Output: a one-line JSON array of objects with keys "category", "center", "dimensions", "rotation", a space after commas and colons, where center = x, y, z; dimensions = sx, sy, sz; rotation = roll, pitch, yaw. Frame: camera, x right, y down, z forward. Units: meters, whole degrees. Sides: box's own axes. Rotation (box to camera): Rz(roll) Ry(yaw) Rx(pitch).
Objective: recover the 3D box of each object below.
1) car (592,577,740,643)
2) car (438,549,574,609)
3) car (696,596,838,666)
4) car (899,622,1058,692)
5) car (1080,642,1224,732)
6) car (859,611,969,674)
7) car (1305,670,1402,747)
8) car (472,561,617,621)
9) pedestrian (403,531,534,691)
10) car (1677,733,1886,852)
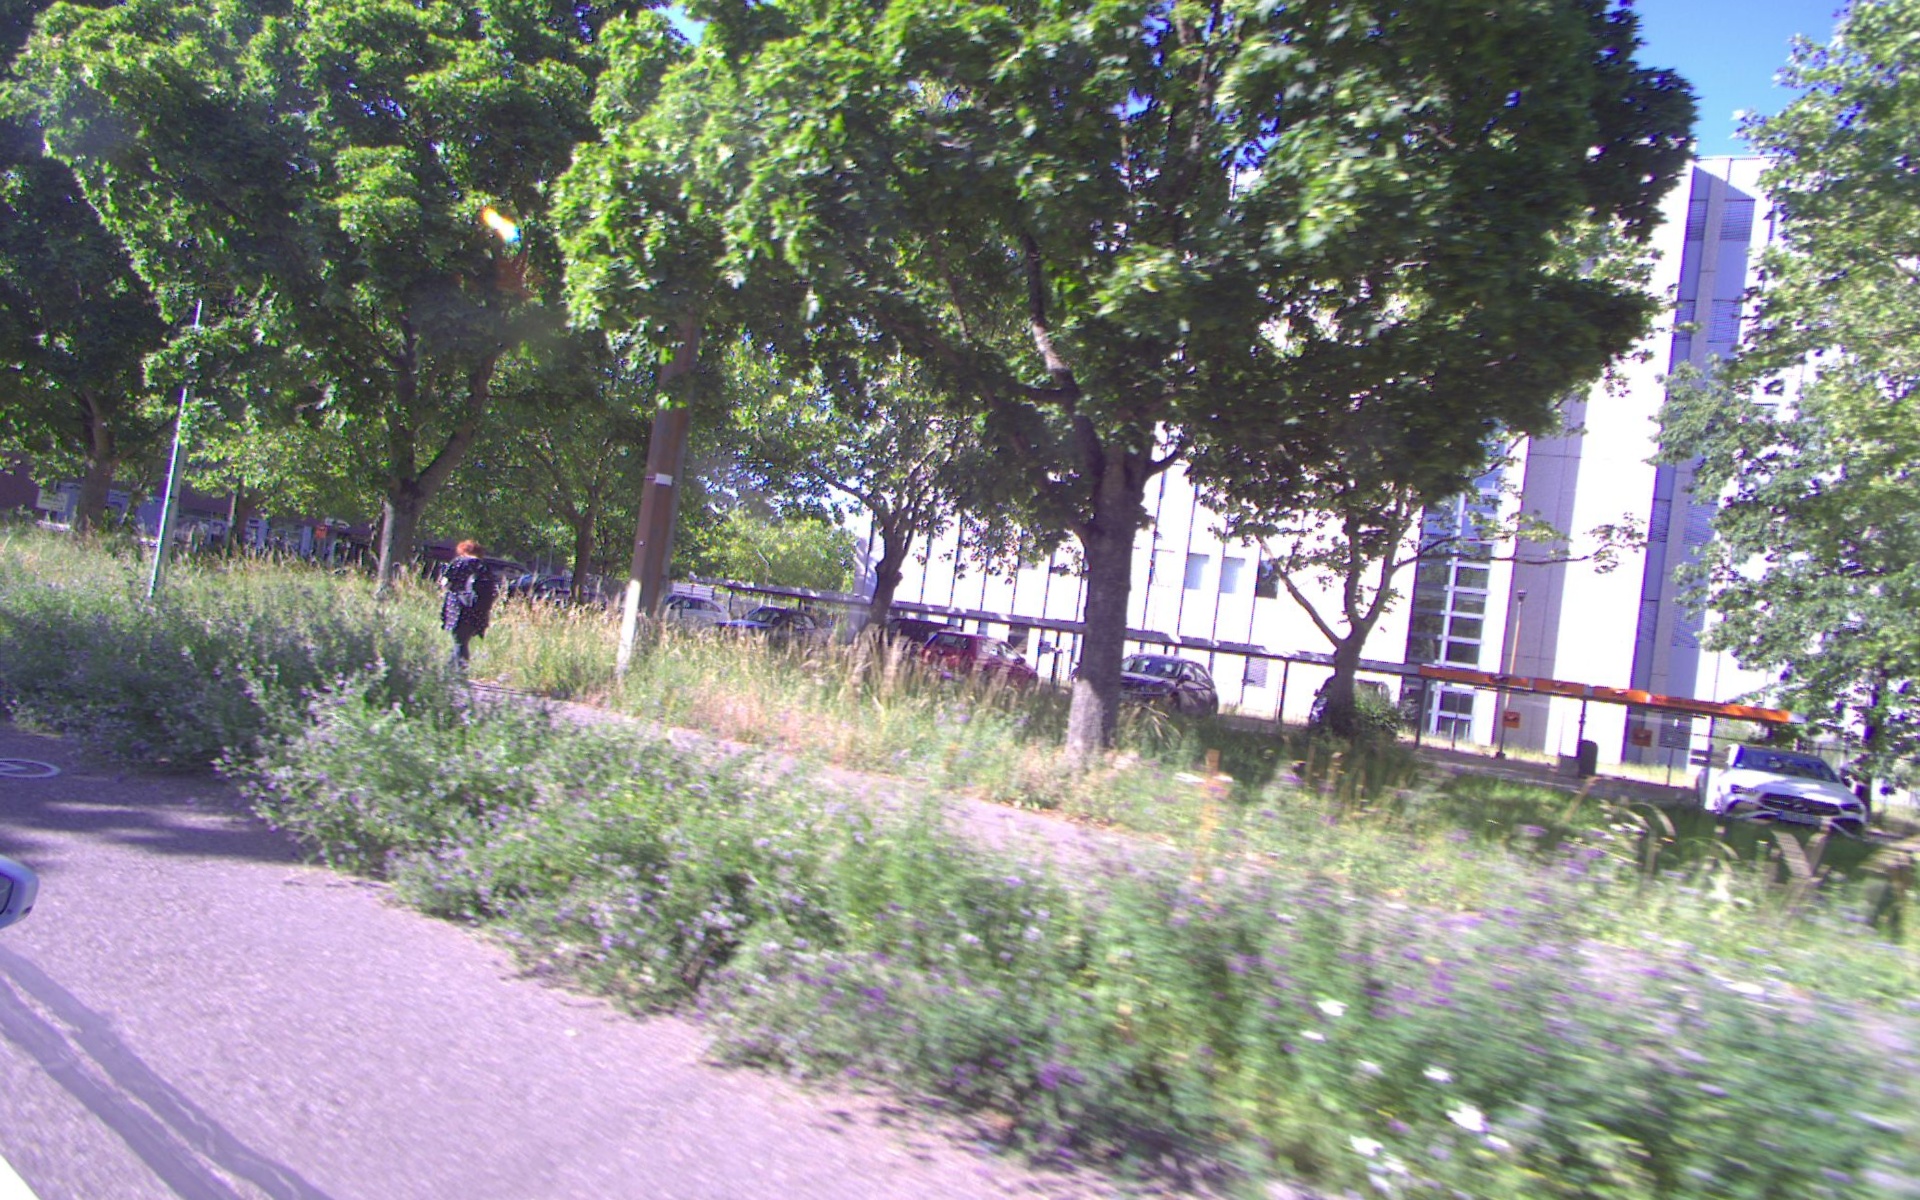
[{"category": "car", "center": [-9.161, 0.357, 31.647], "dimensions": [1.795, 1.448, 4.172], "rotation": [6, -3, 34]}, {"category": "car", "center": [-16.107, -0.723, 35.863], "dimensions": [1.709, 1.522, 4.038], "rotation": [7, -2, 32]}, {"category": "car", "center": [-5.352, 0.923, 28.441], "dimensions": [1.677, 1.542, 4.005], "rotation": [7, -2, 28]}, {"category": "car", "center": [0.568, 1.514, 26.012], "dimensions": [1.910, 1.340, 4.296], "rotation": [8, -1, 36]}, {"category": "car", "center": [4.466, 2.000, 22.833], "dimensions": [1.851, 1.615, 4.404], "rotation": [7, -2, 28]}, {"category": "car", "center": [-1.785, 1.763, 40.632], "dimensions": [1.926, 2.037, 4.594], "rotation": [7, -2, 33]}, {"category": "car", "center": [12.495, 3.407, 31.735], "dimensions": [1.941, 1.973, 4.759], "rotation": [7, -1, 31]}, {"category": "car", "center": [-14.361, -0.275, 35.017], "dimensions": [1.662, 1.475, 4.362], "rotation": [7, -2, 34]}, {"category": "pedestrian", "center": [-5.303, 0.129, 10.878], "dimensions": [0.750, 1.587, 0.826], "rotation": [7, -2, 32]}, {"category": "car", "center": [13.815, 3.144, 17.238], "dimensions": [1.776, 1.286, 4.708], "rotation": [8, -1, 29]}]
